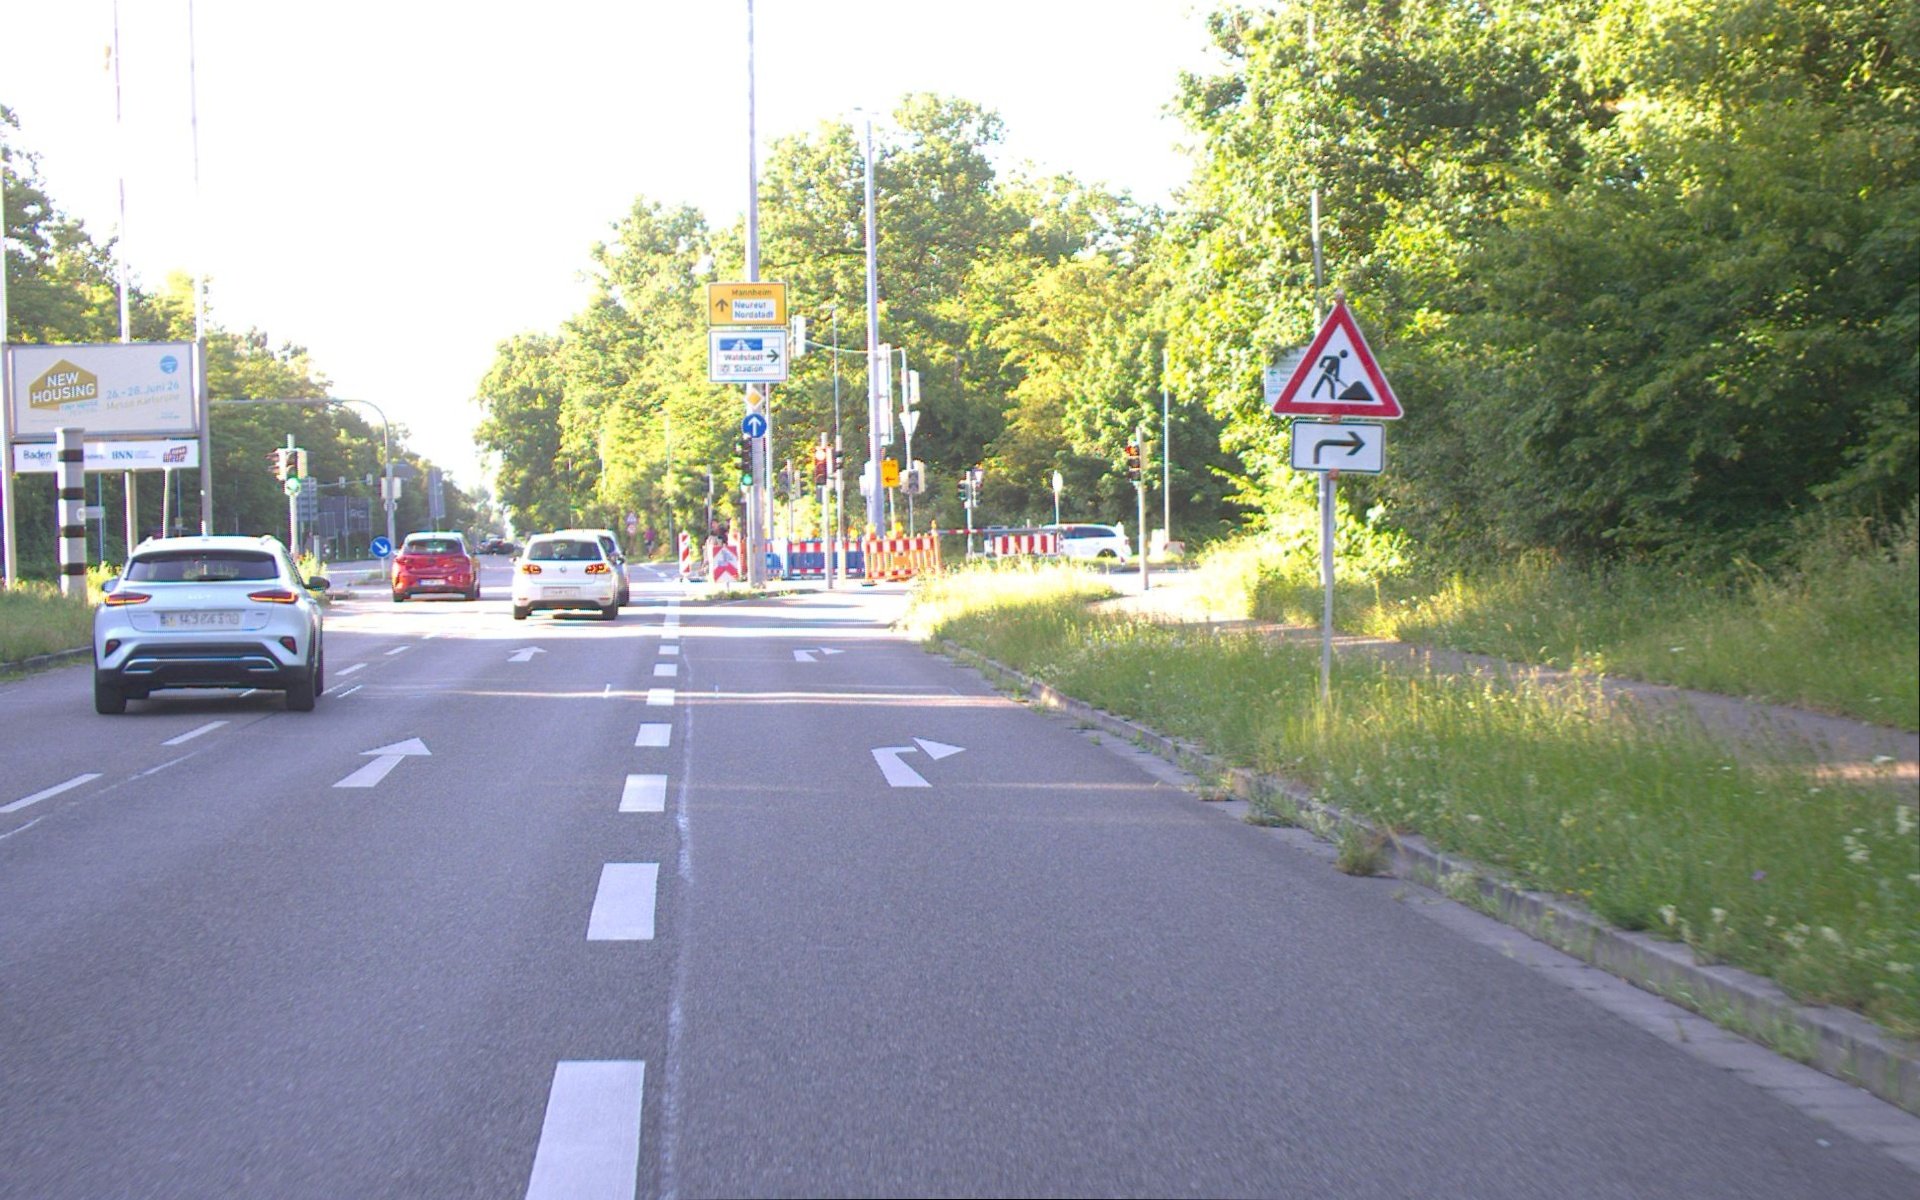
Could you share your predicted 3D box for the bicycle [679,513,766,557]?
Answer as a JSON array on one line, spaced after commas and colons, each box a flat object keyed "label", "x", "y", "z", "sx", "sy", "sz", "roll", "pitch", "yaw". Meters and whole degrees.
[{"label": "bicycle", "x": -7.468, "y": -2.057, "z": 108.235, "sx": 2.632, "sy": 1.378, "sz": 0.968, "roll": -1, "pitch": 2, "yaw": -37}]

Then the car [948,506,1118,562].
[{"label": "car", "x": 2.239, "y": -2.023, "z": 105.202, "sx": 4.817, "sy": 1.575, "sz": 2.000, "roll": -2, "pitch": 1, "yaw": -26}]

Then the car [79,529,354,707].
[{"label": "car", "x": -6.440, "y": 0.104, "z": 30.170, "sx": 1.863, "sy": 1.439, "sz": 4.001, "roll": -1, "pitch": 1, "yaw": -5}]

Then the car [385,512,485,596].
[{"label": "car", "x": -11.128, "y": -0.985, "z": 72.793, "sx": 1.993, "sy": 1.679, "sz": 4.001, "roll": -2, "pitch": 1, "yaw": -9}]

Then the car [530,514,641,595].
[{"label": "car", "x": -7.524, "y": -0.931, "z": 68.816, "sx": 1.993, "sy": 1.531, "sz": 4.001, "roll": -2, "pitch": 1, "yaw": -9}]

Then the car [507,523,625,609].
[{"label": "car", "x": -6.869, "y": -0.619, "z": 60.140, "sx": 1.940, "sy": 1.409, "sz": 4.001, "roll": -2, "pitch": 1, "yaw": -6}]

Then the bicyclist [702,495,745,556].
[{"label": "bicyclist", "x": -7.448, "y": -2.351, "z": 108.253, "sx": 1.013, "sy": 1.923, "sz": 0.968, "roll": -1, "pitch": 2, "yaw": -37}]
